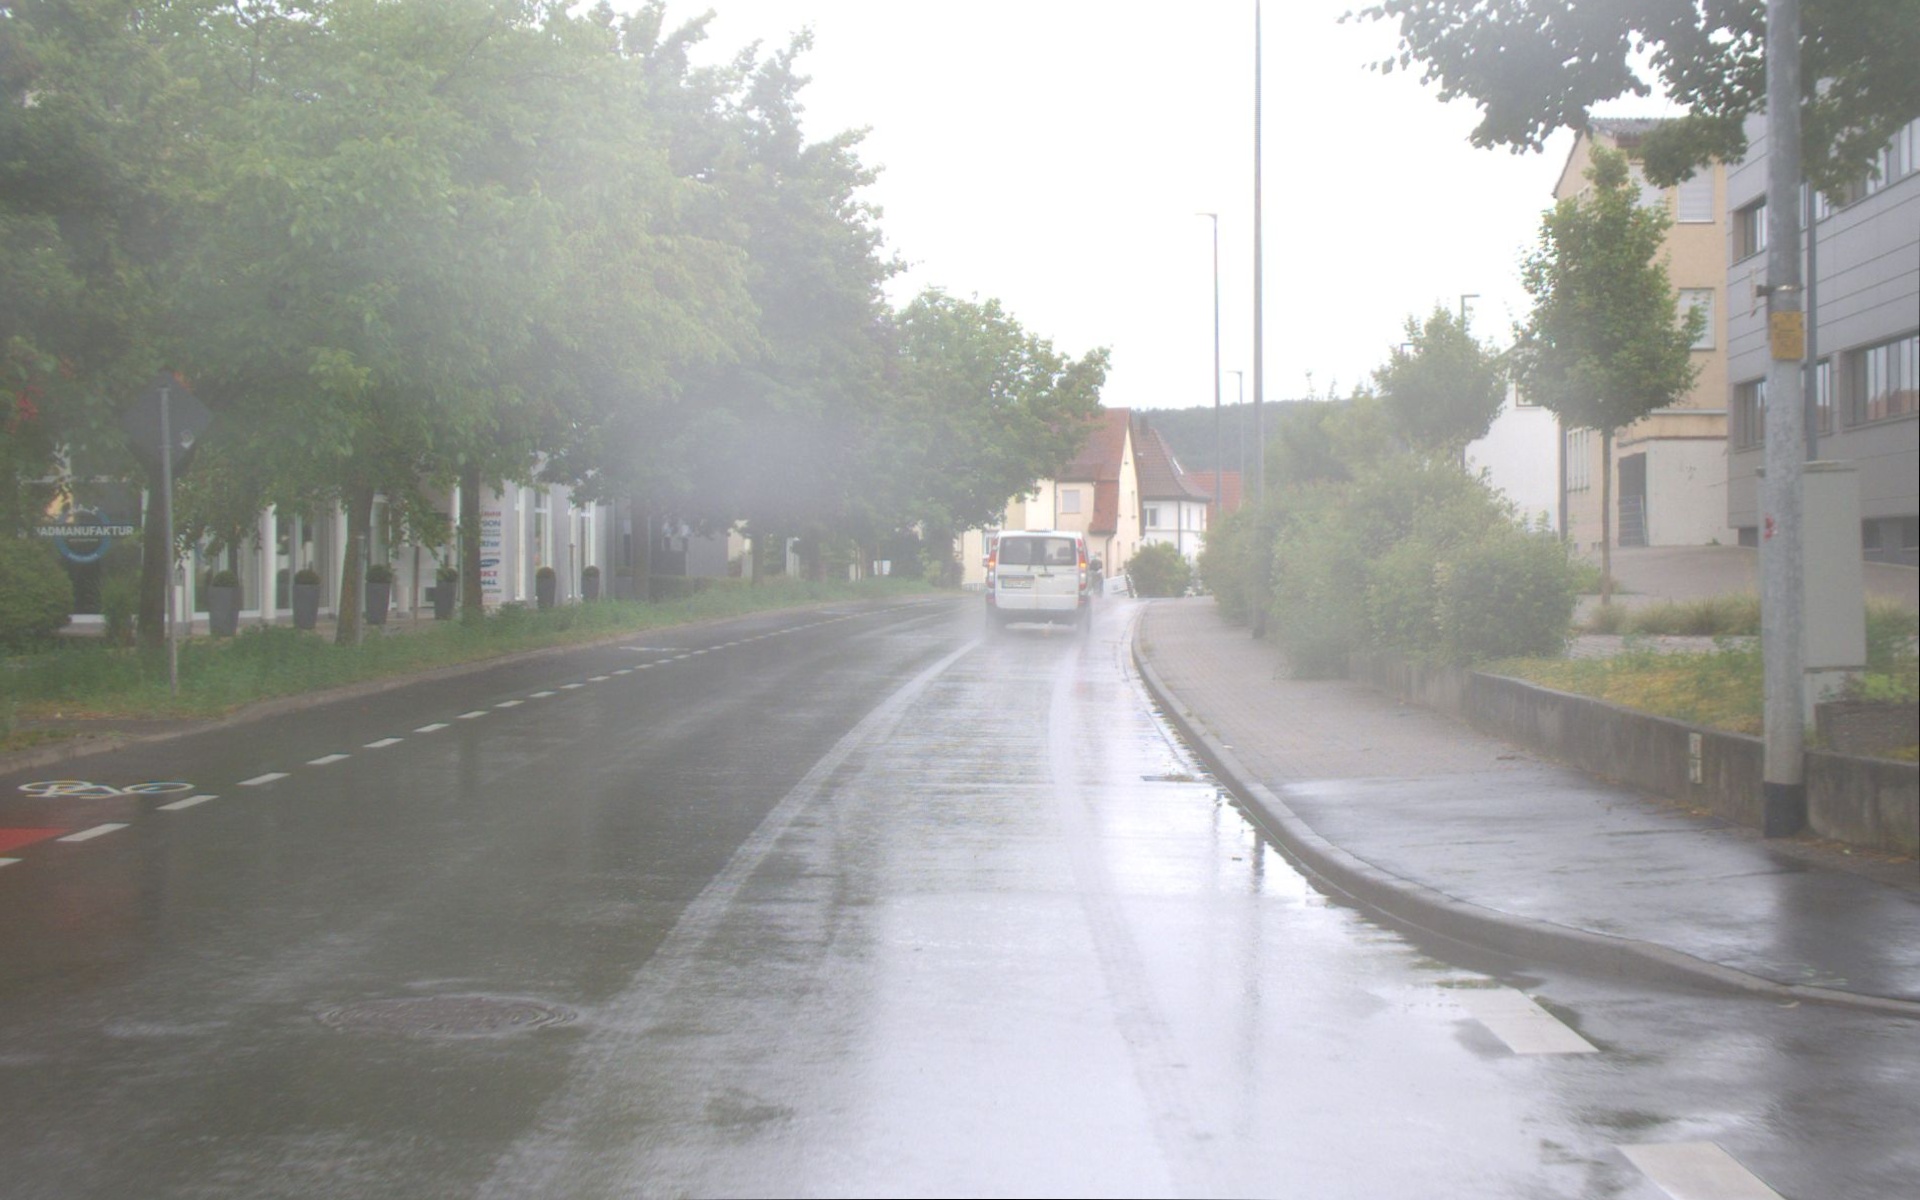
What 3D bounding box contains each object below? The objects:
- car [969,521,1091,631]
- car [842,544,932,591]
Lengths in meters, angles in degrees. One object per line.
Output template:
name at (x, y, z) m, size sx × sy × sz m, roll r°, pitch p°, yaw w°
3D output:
car at (1.263, -0.476, 62.679) m, size 2.117 × 1.881 × 4.502 m, roll 1°, pitch 2°, yaw 1°
car at (-2.458, -1.093, 116.356) m, size 2.908 × 1.450 × 1.253 m, roll -2°, pitch -2°, yaw 5°
